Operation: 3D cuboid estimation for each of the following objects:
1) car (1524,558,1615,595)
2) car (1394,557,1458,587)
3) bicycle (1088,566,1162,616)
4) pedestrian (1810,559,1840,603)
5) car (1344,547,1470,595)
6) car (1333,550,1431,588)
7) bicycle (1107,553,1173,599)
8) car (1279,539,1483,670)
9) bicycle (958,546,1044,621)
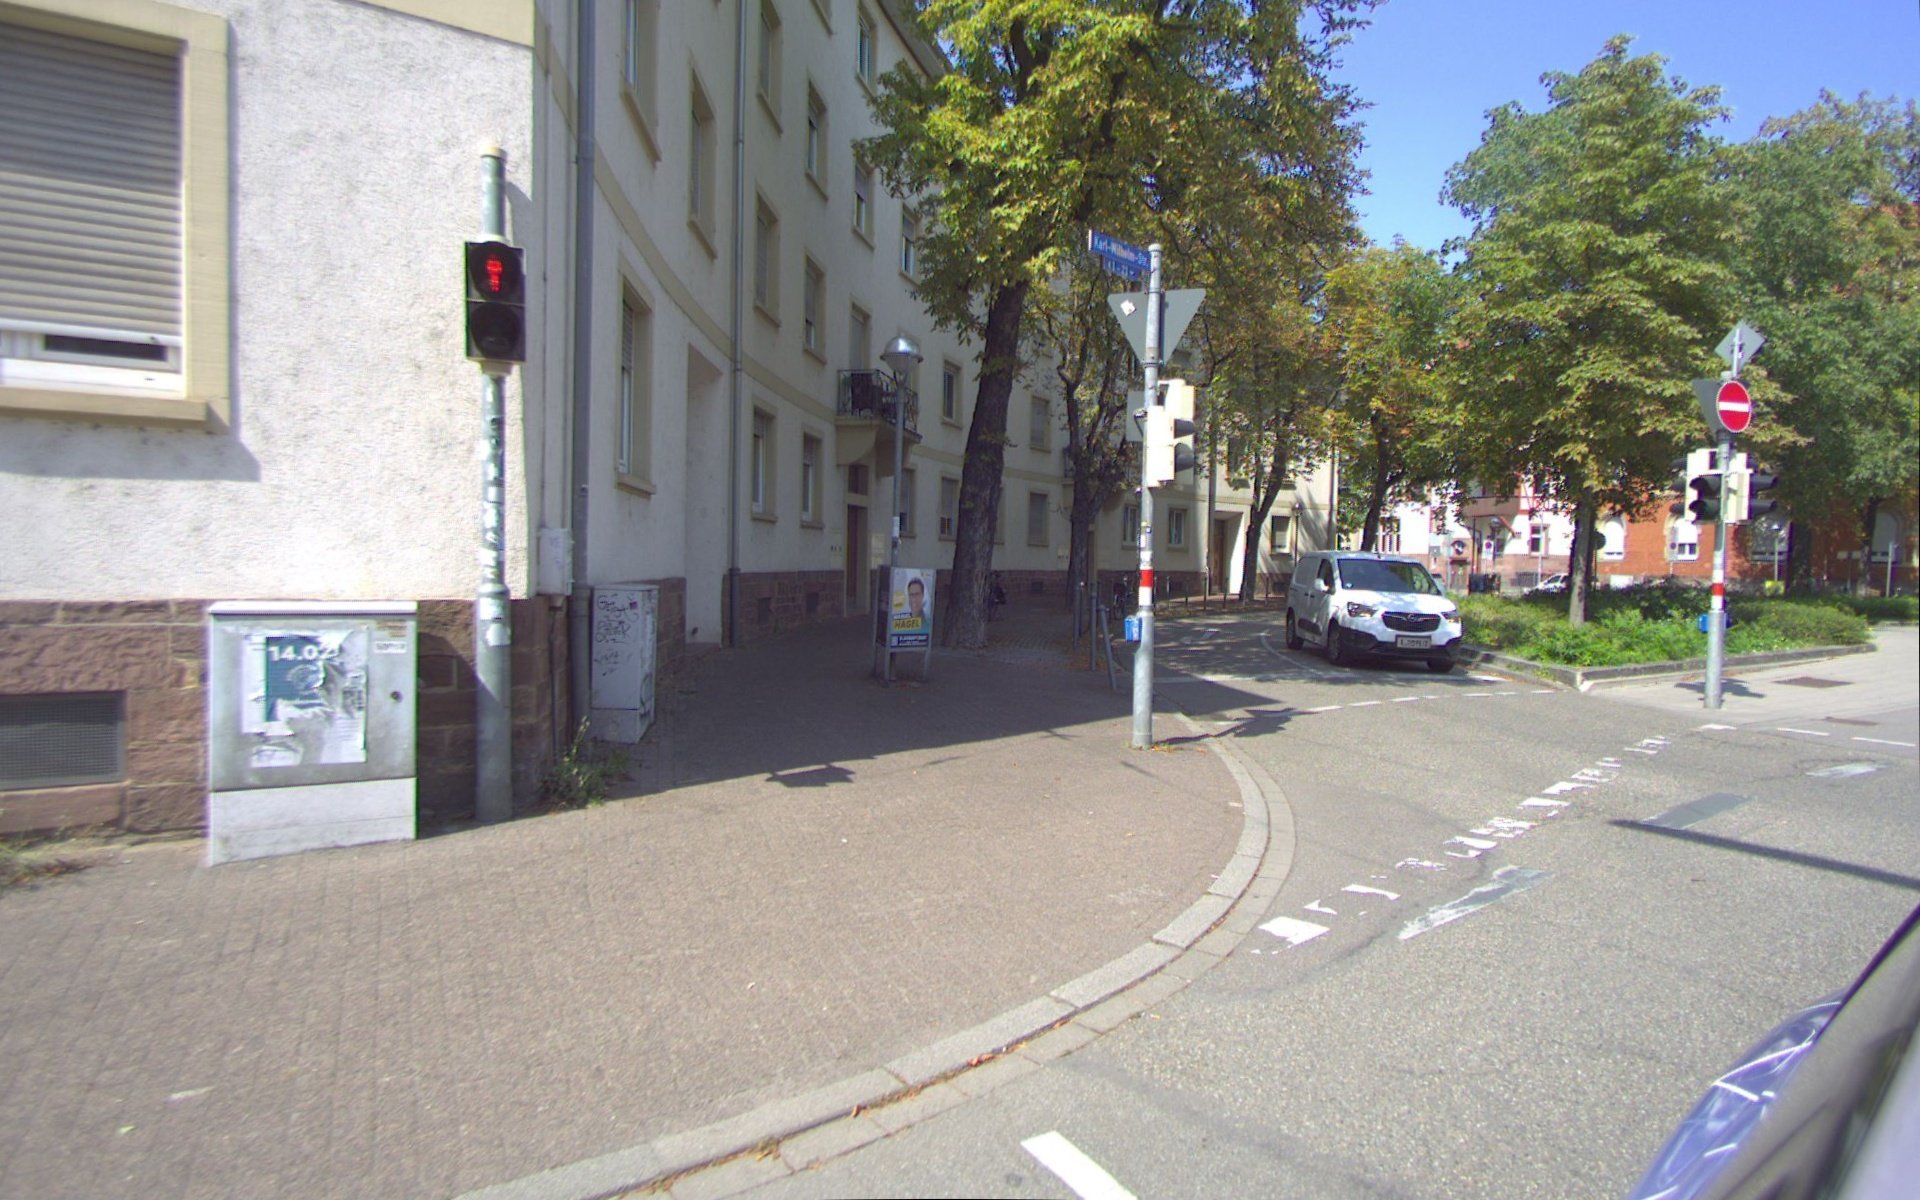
[{"bbox_3d":[32.383,-1.277,53.908,1.768,1.834,4.424,1,3,-6],"label":"car"},{"bbox_3d":[30.490,-1.837,66.360,1.768,1.834,4.424,1,3,-6],"label":"car"},{"bbox_3d":[4.134,-0.252,25.239,0.807,1.138,2.239,6,5,37],"label":"bicycle"},{"bbox_3d":[38.693,-0.854,45.285,0.667,1.908,0.917,2,2,20],"label":"pedestrian"},{"bbox_3d":[18.577,-1.237,42.179,4.334,1.833,1.804,2,3,2],"label":"car"},{"bbox_3d":[22.230,-1.652,53.426,4.329,1.834,1.806,1,2,-3],"label":"car"},{"bbox_3d":[5.801,-0.786,32.553,2.314,1.427,0.890,-2,2,-42],"label":"bicycle"},{"bbox_3d":[6.726,-0.043,16.734,1.772,1.834,4.412,1,3,5],"label":"car"},{"bbox_3d":[0.931,-0.390,21.727,1.010,1.470,2.672,3,3,21],"label":"bicycle"}]
